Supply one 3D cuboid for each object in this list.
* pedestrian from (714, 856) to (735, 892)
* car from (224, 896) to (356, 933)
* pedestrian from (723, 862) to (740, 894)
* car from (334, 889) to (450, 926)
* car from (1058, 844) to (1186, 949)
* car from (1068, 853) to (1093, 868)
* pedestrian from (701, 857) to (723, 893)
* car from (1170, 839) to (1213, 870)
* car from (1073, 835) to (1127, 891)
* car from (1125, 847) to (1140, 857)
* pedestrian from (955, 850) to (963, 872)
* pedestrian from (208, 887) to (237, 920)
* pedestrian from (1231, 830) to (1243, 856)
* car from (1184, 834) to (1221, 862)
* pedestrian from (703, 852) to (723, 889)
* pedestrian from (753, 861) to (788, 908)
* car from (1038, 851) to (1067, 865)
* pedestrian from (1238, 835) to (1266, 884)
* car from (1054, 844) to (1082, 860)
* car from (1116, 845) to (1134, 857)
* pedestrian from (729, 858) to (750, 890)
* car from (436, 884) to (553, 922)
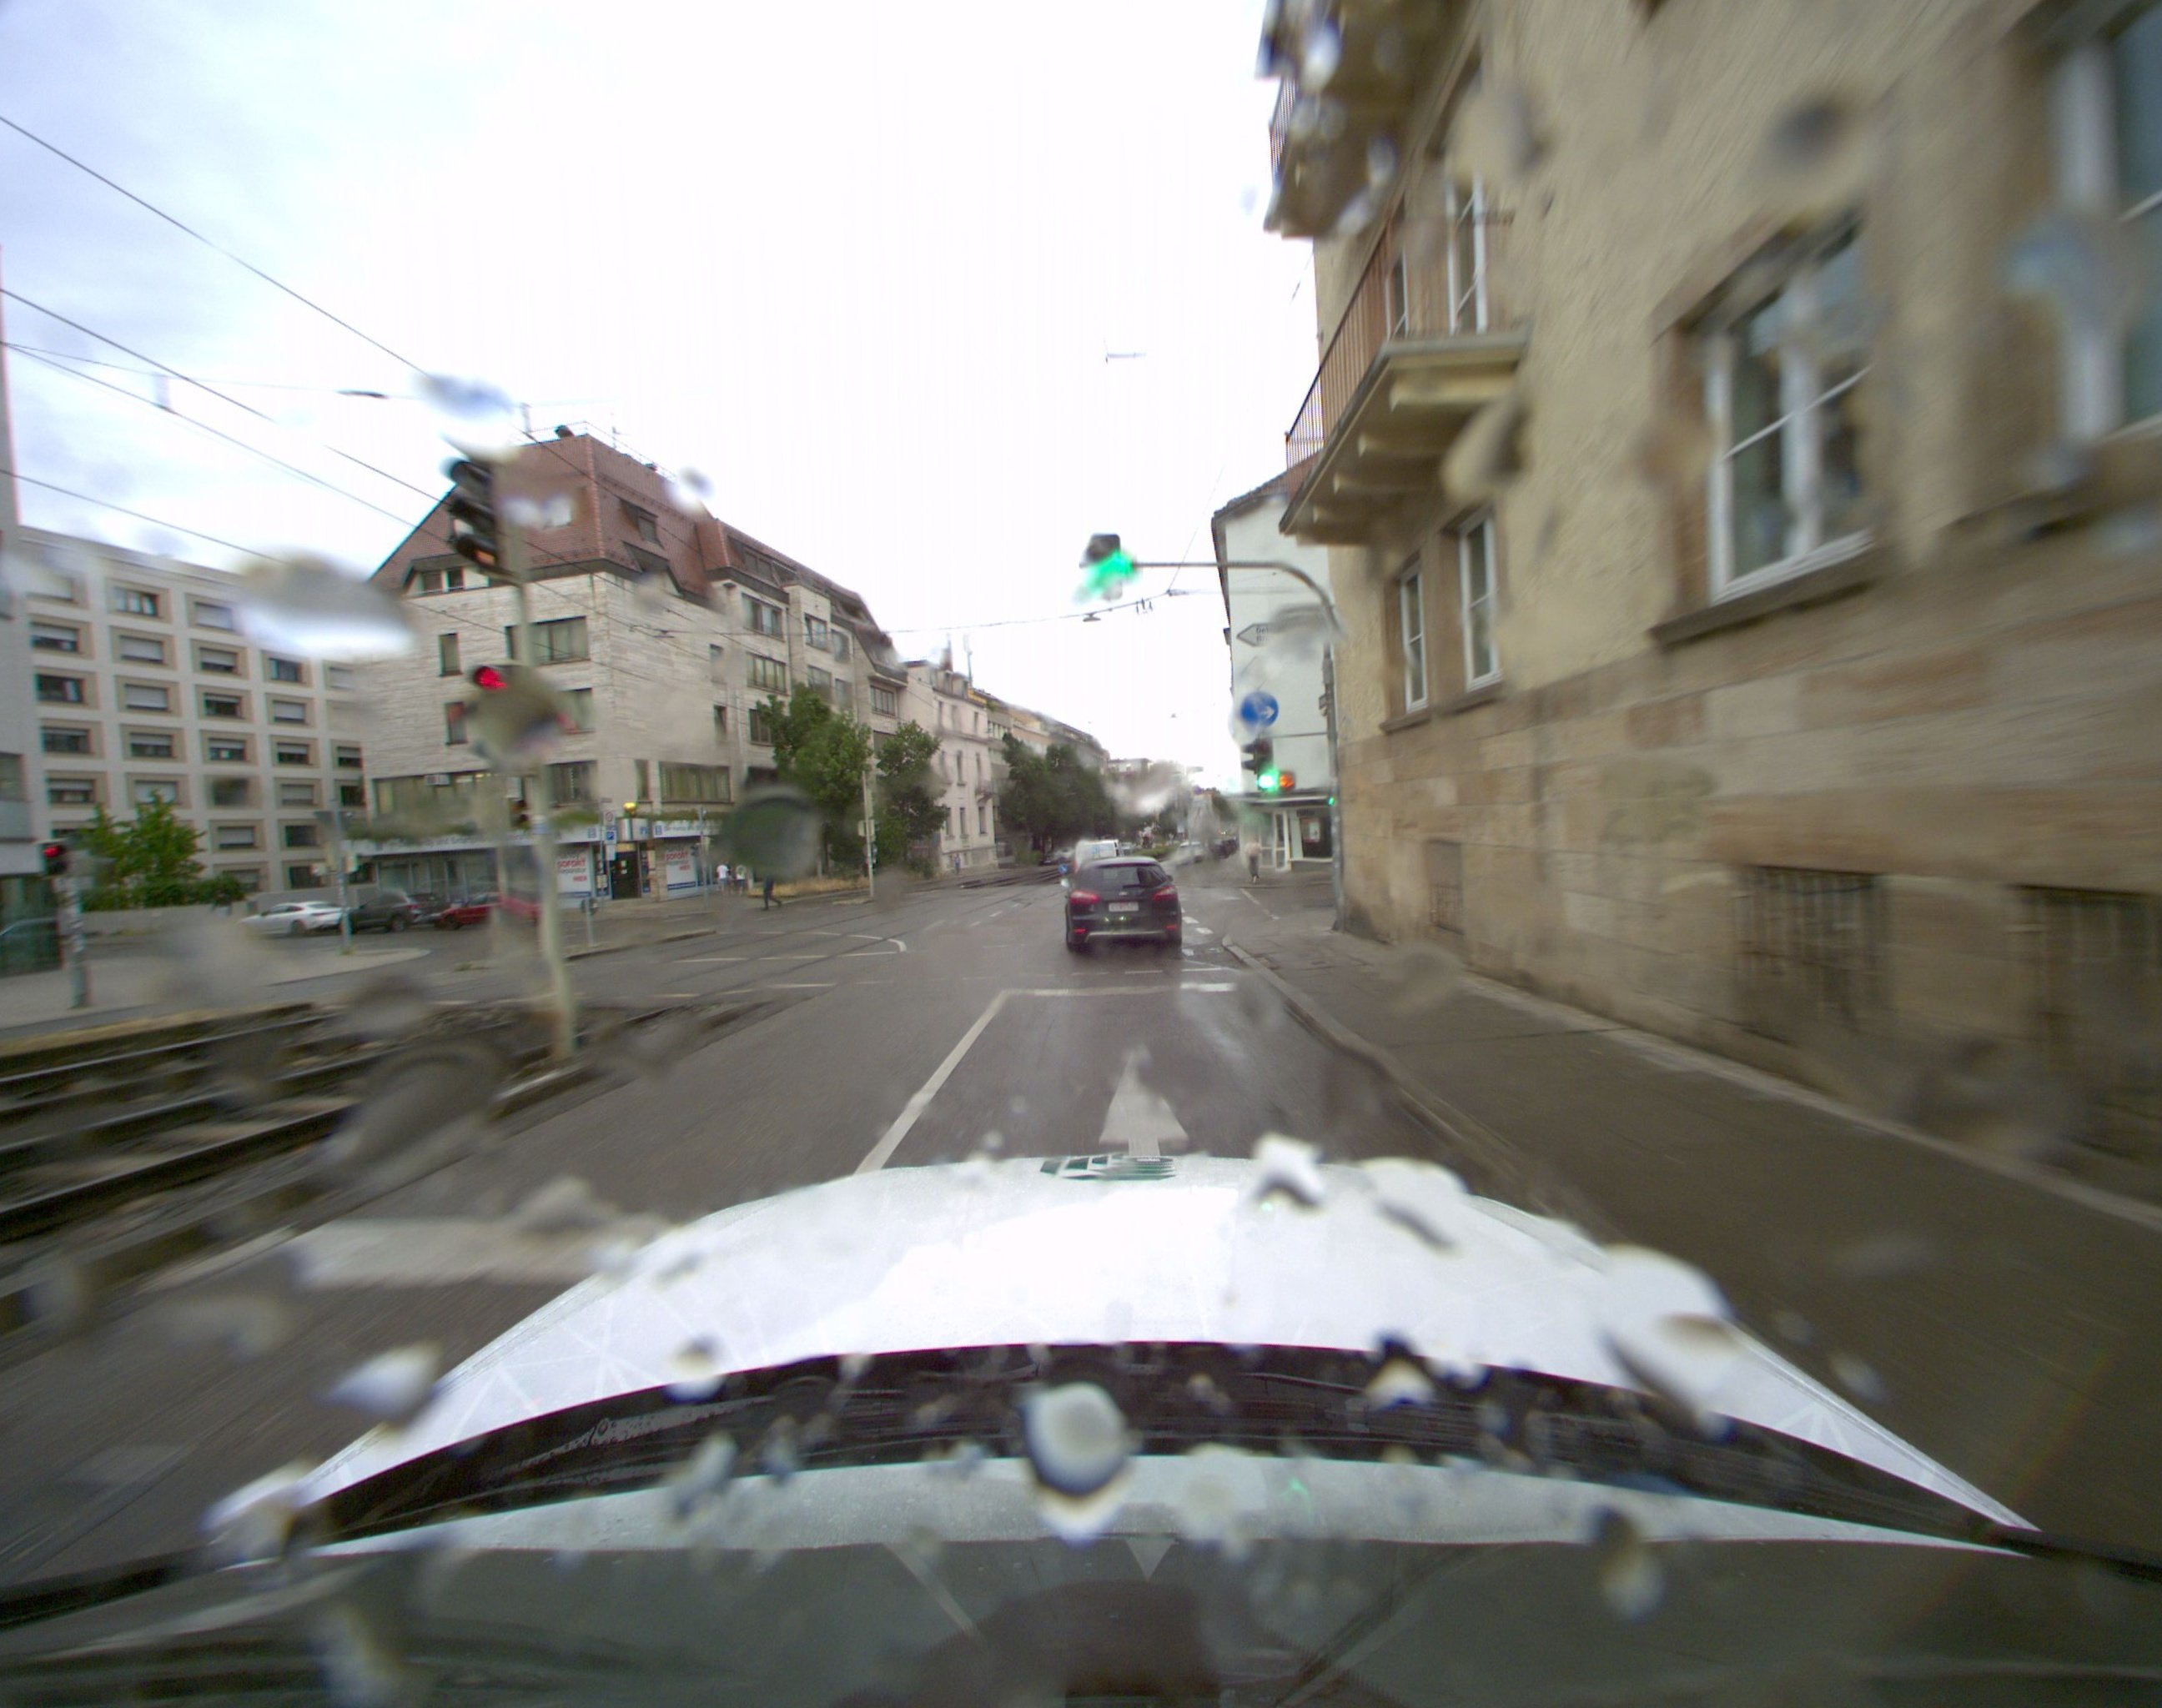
[{"bbox_3d":[-17.387,0.966,39.681,0.643,1.724,0.686,0,-1,11],"label":"pedestrian"},{"bbox_3d":[-32.365,2.481,33.354,4.457,1.318,1.599,-2,-1,11],"label":"car"},{"bbox_3d":[-17.405,1.179,40.538,0.500,1.598,0.587,0,-1,11],"label":"pedestrian"},{"bbox_3d":[-27.494,2.117,32.536,3.669,1.318,1.599,-2,-1,11],"label":"car"},{"bbox_3d":[0.674,0.643,13.758,1.835,1.507,4.002,-1,-1,2],"label":"car"},{"bbox_3d":[-0.008,0.752,94.270,1.842,1.548,4.447,-2,-1,13],"label":"car"},{"bbox_3d":[-18.041,1.034,39.830,0.643,1.749,0.686,0,-1,11],"label":"pedestrian"},{"bbox_3d":[6.008,0.049,43.880,1.789,1.455,4.603,-3,-1,13],"label":"car"},{"bbox_3d":[0.786,0.372,32.776,1.981,2.060,4.646,-1,-1,2],"label":"car"},{"bbox_3d":[8.428,-0.296,133.497,1.683,1.574,4.060,-2,-1,13],"label":"car"},{"bbox_3d":[-9.288,0.552,62.087,0.466,1.652,0.582,0,-1,1],"label":"pedestrian"},{"bbox_3d":[-40.853,2.349,38.741,0.677,1.549,0.651,0,-1,11],"label":"pedestrian"},{"bbox_3d":[11.209,-0.794,58.417,0.698,1.819,0.965,-5,1,13],"label":"pedestrian"},{"bbox_3d":[7.605,-0.343,50.485,1.832,1.632,4.603,-2,-1,13],"label":"car"},{"bbox_3d":[-18.656,0.830,41.279,0.643,1.842,0.686,0,-1,11],"label":"pedestrian"},{"bbox_3d":[-12.128,1.178,31.802,0.926,1.830,0.961,0,-1,4],"label":"pedestrian"},{"bbox_3d":[-2.860,0.409,81.978,1.682,1.377,4.737,-2,-1,13],"label":"car"},{"bbox_3d":[5.755,0.191,27.437,0.685,1.572,0.763,-3,-1,1],"label":"pedestrian"},{"bbox_3d":[-1.378,-0.202,88.066,1.842,1.548,4.737,-2,-1,13],"label":"car"},{"bbox_3d":[6.890,-0.468,127.060,1.842,1.637,4.952,-2,-1,13],"label":"car"},{"bbox_3d":[-16.638,0.992,39.703,0.643,1.549,0.686,0,-1,11],"label":"pedestrian"},{"bbox_3d":[-22.715,1.876,31.592,3.669,1.318,1.599,-2,-1,11],"label":"car"}]
